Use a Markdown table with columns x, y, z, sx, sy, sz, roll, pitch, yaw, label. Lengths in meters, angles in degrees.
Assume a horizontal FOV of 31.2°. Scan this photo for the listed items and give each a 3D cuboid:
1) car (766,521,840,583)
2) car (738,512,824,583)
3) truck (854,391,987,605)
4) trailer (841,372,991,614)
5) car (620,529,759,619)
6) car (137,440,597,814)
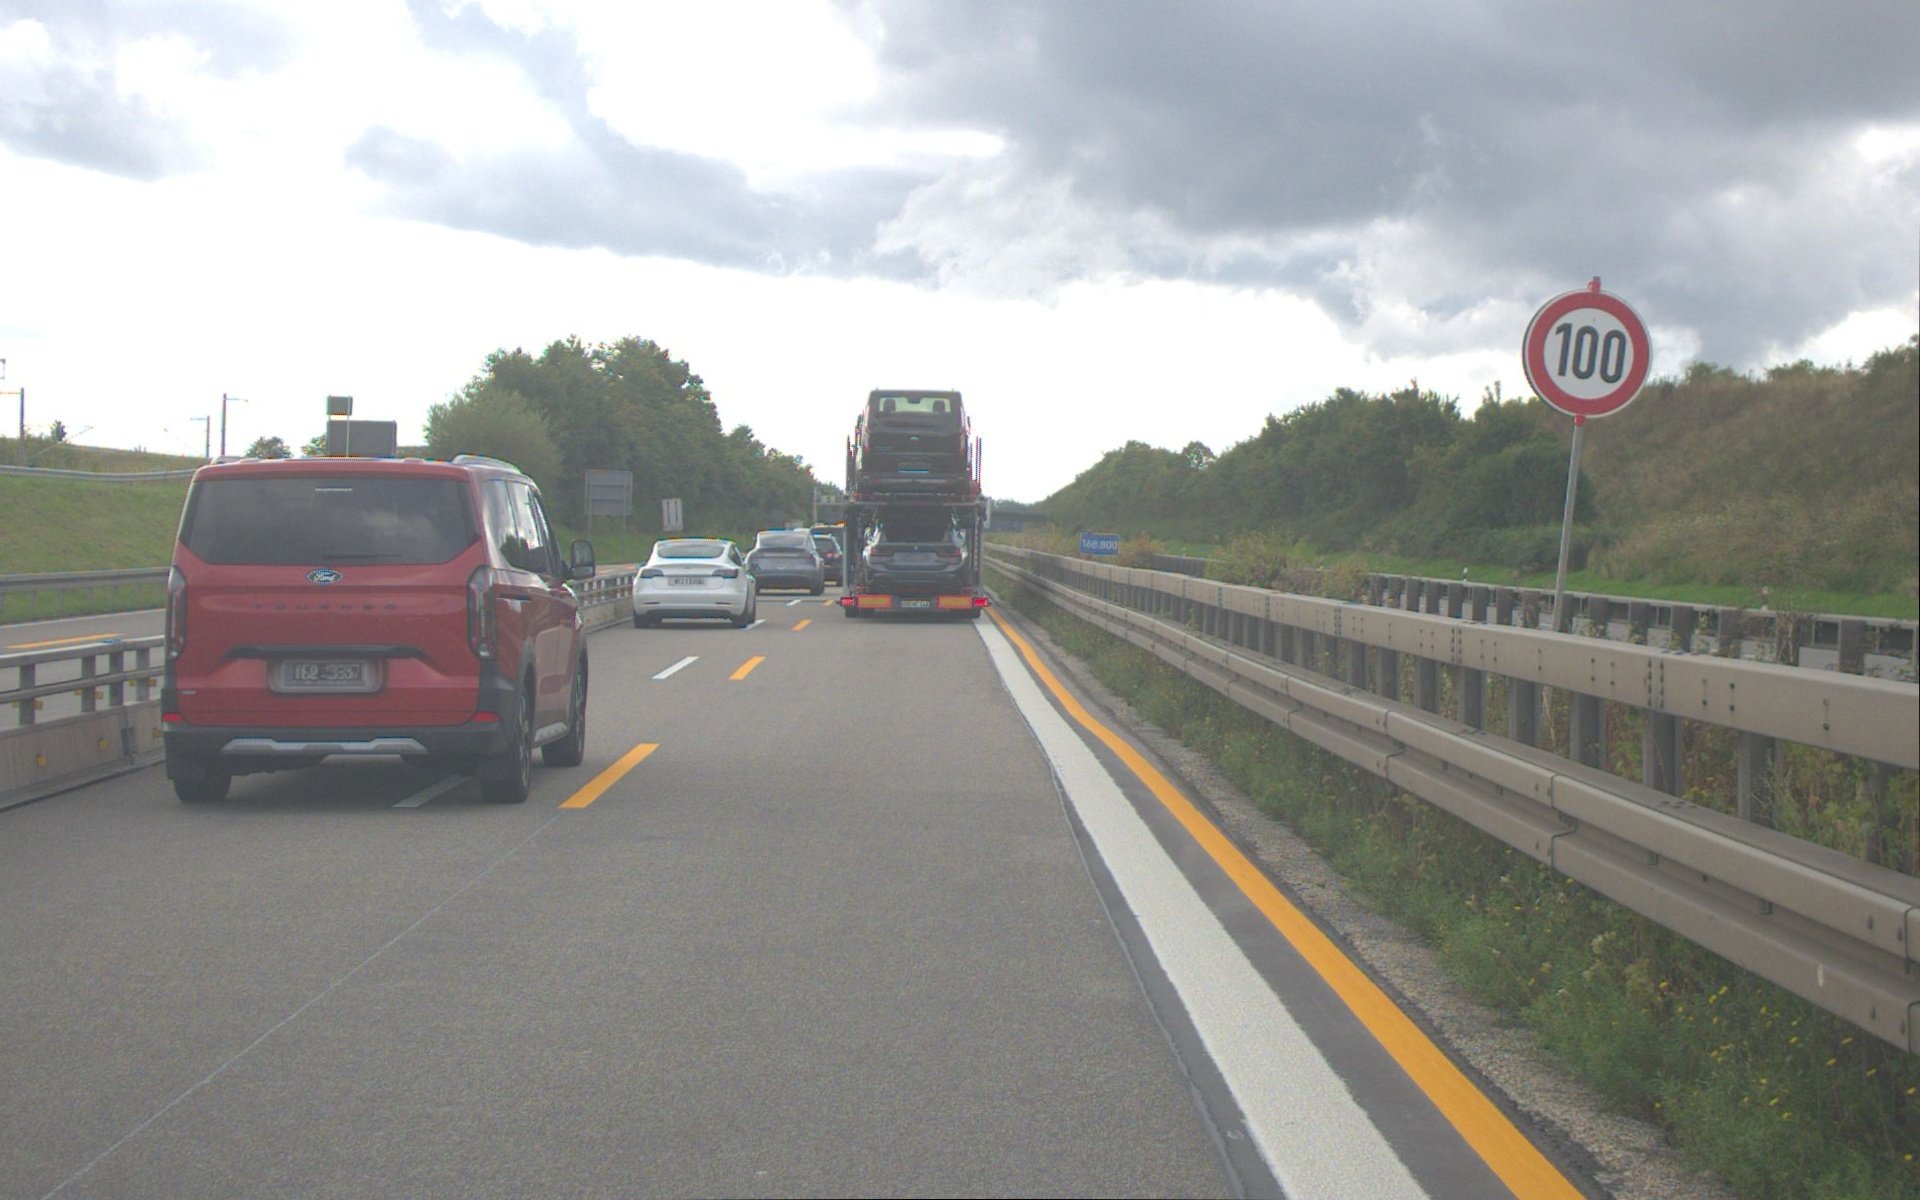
| x | y | z | sx | sy | sz | roll | pitch | yaw | label |
| --- | --- | --- | --- | --- | --- | --- | --- | --- | --- |
| -4.495 | -1.392 | 99.097 | 2.031 | 1.751 | 4.578 | 0 | 1 | -2 | car |
| -4.449 | -1.326 | 86.090 | 2.031 | 1.751 | 4.578 | 0 | 1 | -1 | car |
| -0.761 | -2.019 | 68.842 | 2.515 | 4.091 | 5.685 | 0 | 1 | 0 | truck |
| -0.746 | -1.925 | 63.887 | 2.515 | 4.091 | 11.114 | 0 | 1 | 0 | trailer |
| -4.422 | -0.463 | 56.773 | 2.031 | 1.426 | 4.578 | 0 | 1 | -1 | car |
| -3.422 | 0.099 | 20.749 | 2.031 | 2.007 | 4.578 | 0 | 1 | -1 | car |
